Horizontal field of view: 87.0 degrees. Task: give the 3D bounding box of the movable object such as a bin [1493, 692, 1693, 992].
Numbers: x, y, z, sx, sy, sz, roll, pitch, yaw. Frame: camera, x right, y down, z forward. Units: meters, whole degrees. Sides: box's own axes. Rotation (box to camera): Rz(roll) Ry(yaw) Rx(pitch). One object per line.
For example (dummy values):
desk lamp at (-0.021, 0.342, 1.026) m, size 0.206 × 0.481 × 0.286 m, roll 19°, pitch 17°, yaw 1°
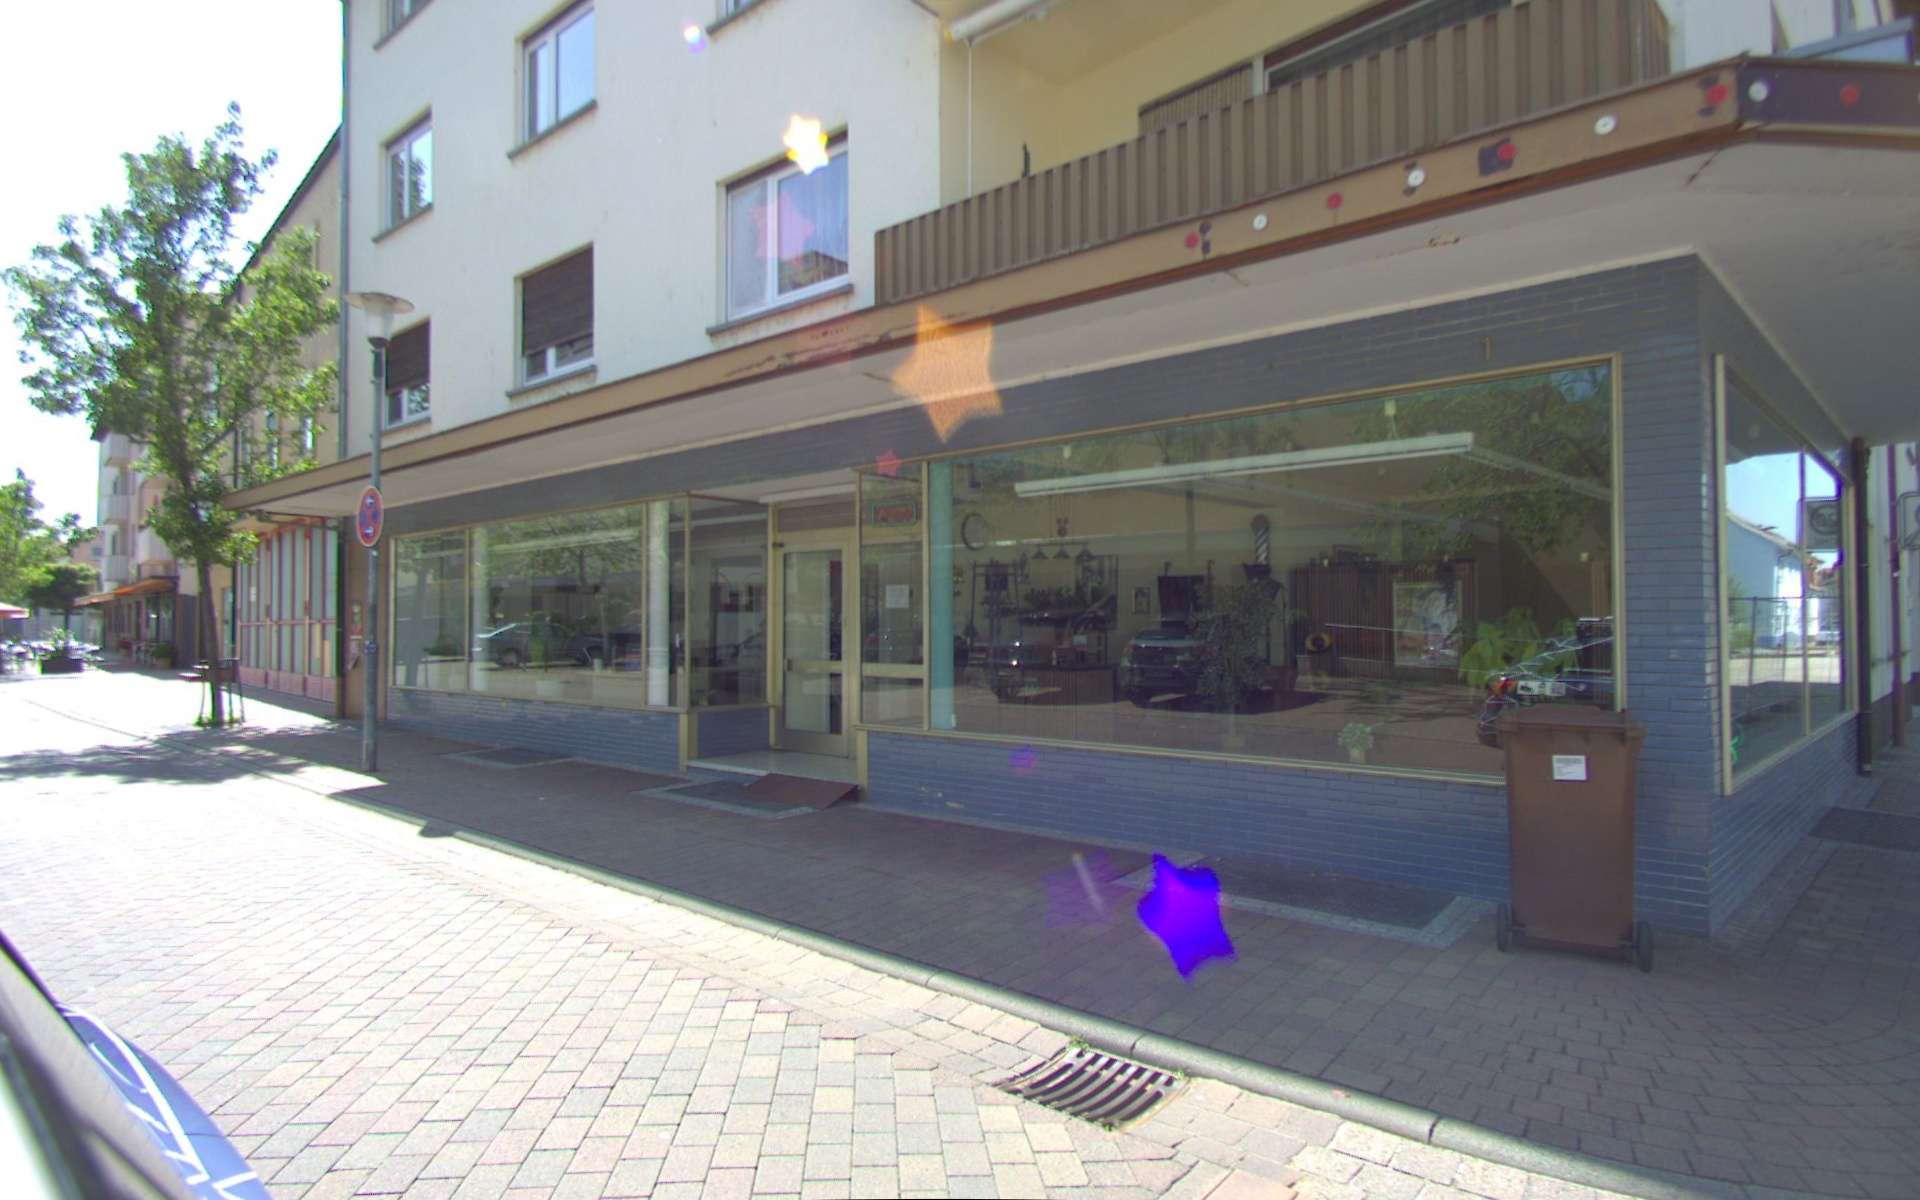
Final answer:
movable object such as a bin at (2.702, 0.968, 4.337) m, size 0.662 × 1.078 × 0.649 m, roll -1°, pitch -1°, yaw 34°
